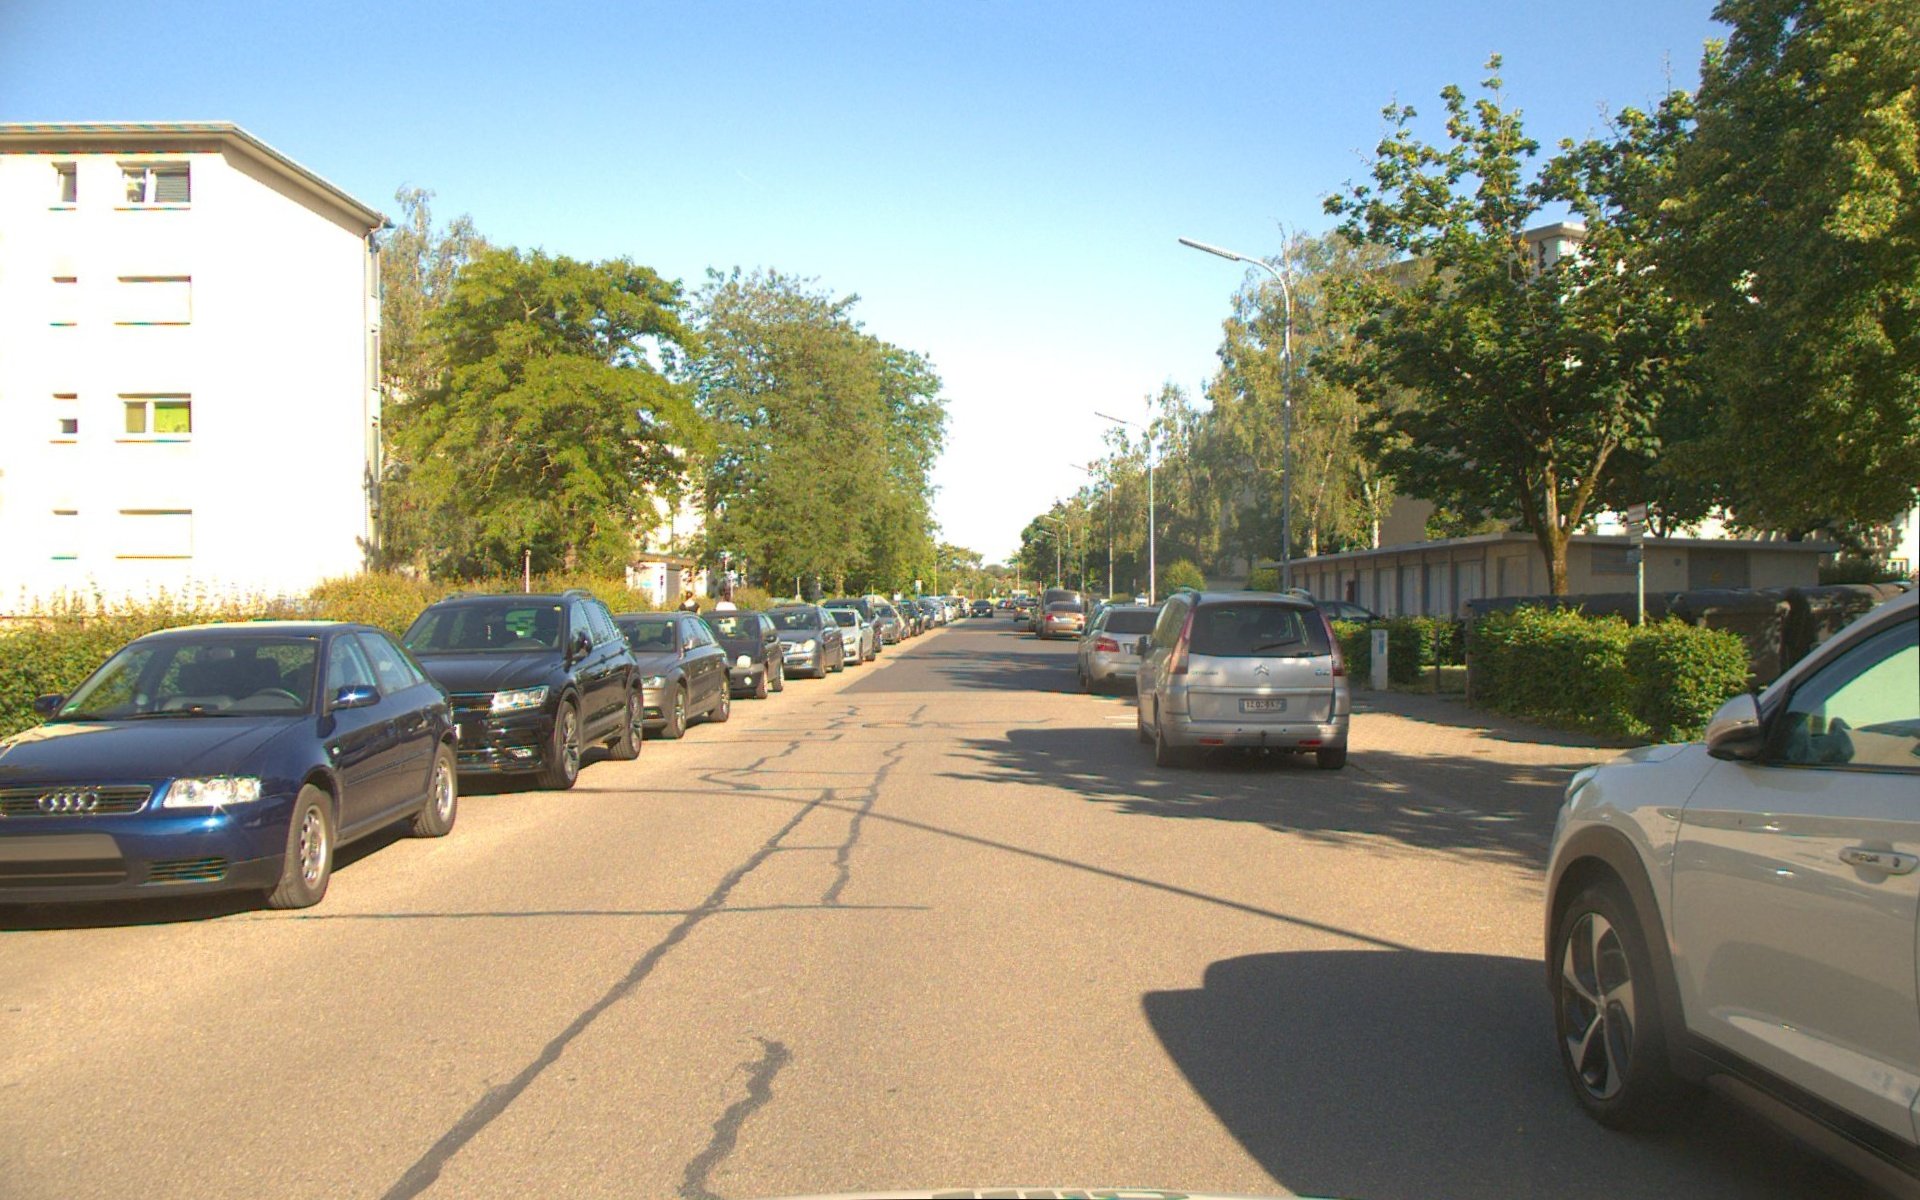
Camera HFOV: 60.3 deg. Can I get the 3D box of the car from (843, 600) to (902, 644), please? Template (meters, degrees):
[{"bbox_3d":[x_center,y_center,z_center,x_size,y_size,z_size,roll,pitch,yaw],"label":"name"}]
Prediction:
[{"bbox_3d":[-3.060,0.751,58.555,1.718,1.445,4.270,-2,0,1],"label":"car"}]

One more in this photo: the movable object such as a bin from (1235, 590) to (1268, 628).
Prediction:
[{"bbox_3d":[11.977,0.365,68.042,1.249,1.491,1.134,0,3,5],"label":"movable object such as a bin"}]

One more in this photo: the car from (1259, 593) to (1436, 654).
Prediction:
[{"bbox_3d":[9.893,0.591,42.442,4.098,1.521,1.817,0,0,-2],"label":"car"}]

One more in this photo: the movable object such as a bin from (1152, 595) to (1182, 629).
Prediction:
[{"bbox_3d":[8.476,0.485,67.745,1.198,1.389,1.134,0,0,5],"label":"movable object such as a bin"}]

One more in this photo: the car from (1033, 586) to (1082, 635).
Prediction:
[{"bbox_3d":[4.132,0.416,70.580,1.814,1.968,4.705,1,0,1],"label":"car"}]

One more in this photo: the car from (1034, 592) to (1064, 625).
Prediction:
[{"bbox_3d":[4.847,0.469,90.297,1.458,1.748,2.583,1,0,1],"label":"car"}]

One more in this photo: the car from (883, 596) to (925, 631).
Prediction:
[{"bbox_3d":[-2.579,0.618,77.295,1.718,1.506,4.537,-2,0,0],"label":"car"}]

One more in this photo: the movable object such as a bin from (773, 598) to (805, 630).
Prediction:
[{"bbox_3d":[-7.140,0.585,69.109,1.153,1.310,1.343,0,0,2],"label":"movable object such as a bin"}]

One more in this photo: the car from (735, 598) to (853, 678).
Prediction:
[{"bbox_3d":[-3.470,0.774,35.408,1.718,1.516,4.902,-3,-1,3],"label":"car"}]

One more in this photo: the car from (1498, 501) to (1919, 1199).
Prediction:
[{"bbox_3d":[2.776,0.656,3.466,1.719,1.703,4.411,0,0,-2],"label":"car"}]

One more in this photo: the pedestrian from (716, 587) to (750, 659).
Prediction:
[{"bbox_3d":[-5.405,0.547,39.344,0.706,1.708,0.616,0,0,1],"label":"pedestrian"}]

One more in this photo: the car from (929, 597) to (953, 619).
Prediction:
[{"bbox_3d":[-1.388,0.565,121.929,1.652,1.532,3.817,-1,0,0],"label":"car"}]

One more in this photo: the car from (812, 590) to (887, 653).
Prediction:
[{"bbox_3d":[-3.161,0.599,48.043,1.718,1.664,4.371,-2,0,1],"label":"car"}]

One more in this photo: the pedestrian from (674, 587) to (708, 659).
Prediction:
[{"bbox_3d":[-6.492,0.554,39.894,0.706,1.708,0.600,0,0,1],"label":"pedestrian"}]

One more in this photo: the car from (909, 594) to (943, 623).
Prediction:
[{"bbox_3d":[-2.031,0.472,99.806,1.864,1.668,4.349,-1,0,1],"label":"car"}]

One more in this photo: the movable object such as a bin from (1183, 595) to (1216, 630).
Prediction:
[{"bbox_3d":[9.729,0.501,67.327,1.249,1.389,1.134,0,0,5],"label":"movable object such as a bin"}]

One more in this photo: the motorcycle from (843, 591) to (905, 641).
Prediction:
[{"bbox_3d":[-3.229,0.593,62.133,2.210,1.757,0.932,-3,0,-2],"label":"motorcycle"}]

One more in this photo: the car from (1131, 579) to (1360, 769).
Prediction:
[{"bbox_3d":[2.736,0.637,16.762,1.717,1.655,4.496,0,0,2],"label":"car"}]

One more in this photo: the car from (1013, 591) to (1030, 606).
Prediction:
[{"bbox_3d":[7.123,-0.168,191.114,1.759,1.589,3.951,1,0,-1],"label":"car"}]

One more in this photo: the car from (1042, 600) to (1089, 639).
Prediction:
[{"bbox_3d":[4.086,0.722,64.611,1.763,1.443,4.637,1,0,3],"label":"car"}]

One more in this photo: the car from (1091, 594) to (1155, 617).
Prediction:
[{"bbox_3d":[11.345,0.377,115.550,4.323,1.540,1.829,-1,0,2],"label":"car"}]

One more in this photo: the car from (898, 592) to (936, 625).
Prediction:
[{"bbox_3d":[-2.294,0.450,89.140,1.718,1.634,3.969,-2,0,2],"label":"car"}]

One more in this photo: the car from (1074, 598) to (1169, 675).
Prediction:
[{"bbox_3d":[3.346,0.726,34.811,1.767,1.521,3.796,0,0,2],"label":"car"}]

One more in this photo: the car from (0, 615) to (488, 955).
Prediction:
[{"bbox_3d":[-4.011,0.835,9.349,1.605,1.409,4.169,-2,0,-2],"label":"car"}]

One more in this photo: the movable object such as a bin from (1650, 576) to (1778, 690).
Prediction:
[{"bbox_3d":[10.496,0.449,23.071,1.298,1.564,1.028,0,0,-5],"label":"movable object such as a bin"}]

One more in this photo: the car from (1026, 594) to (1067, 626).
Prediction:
[{"bbox_3d":[4.328,0.493,83.014,1.696,1.516,4.500,-1,0,-1],"label":"car"}]

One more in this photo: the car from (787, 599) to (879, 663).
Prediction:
[{"bbox_3d":[-3.134,0.756,41.636,1.717,1.450,4.212,-2,-1,3],"label":"car"}]

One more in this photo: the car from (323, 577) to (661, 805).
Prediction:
[{"bbox_3d":[-3.988,0.689,14.889,1.718,1.697,4.390,-2,0,0],"label":"car"}]

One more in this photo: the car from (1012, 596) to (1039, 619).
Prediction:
[{"bbox_3d":[4.611,0.538,117.139,1.645,1.540,4.103,2,0,-1],"label":"car"}]

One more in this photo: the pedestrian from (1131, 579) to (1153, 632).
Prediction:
[{"bbox_3d":[6.716,0.212,61.085,0.688,1.921,0.873,-2,0,2],"label":"pedestrian"}]

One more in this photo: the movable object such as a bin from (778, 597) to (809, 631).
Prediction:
[{"bbox_3d":[-7.104,0.590,70.527,1.153,1.432,1.343,0,0,2],"label":"movable object such as a bin"}]

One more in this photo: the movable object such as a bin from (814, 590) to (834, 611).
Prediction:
[{"bbox_3d":[-9.527,0.028,115.966,1.153,1.445,1.463,2,0,3],"label":"movable object such as a bin"}]

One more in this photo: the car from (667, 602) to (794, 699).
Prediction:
[{"bbox_3d":[-3.850,0.810,28.229,1.614,1.489,3.496,-2,0,0],"label":"car"}]

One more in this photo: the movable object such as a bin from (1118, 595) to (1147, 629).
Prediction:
[{"bbox_3d":[7.170,0.504,68.763,1.004,1.333,1.388,-3,0,11],"label":"movable object such as a bin"}]

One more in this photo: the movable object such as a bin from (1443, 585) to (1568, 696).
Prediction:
[{"bbox_3d":[7.606,0.552,23.110,1.298,1.453,1.069,-3,0,-5],"label":"movable object such as a bin"}]

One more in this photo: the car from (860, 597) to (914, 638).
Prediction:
[{"bbox_3d":[-2.881,0.657,65.783,1.717,1.506,3.961,-2,0,3],"label":"car"}]

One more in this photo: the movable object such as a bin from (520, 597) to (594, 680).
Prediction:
[{"bbox_3d":[-7.357,0.691,30.242,0.981,1.440,1.326,3,0,-1],"label":"movable object such as a bin"}]

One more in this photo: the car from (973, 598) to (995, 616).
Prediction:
[{"bbox_3d":[2.058,0.567,142.930,1.871,1.502,4.571,-1,0,1],"label":"car"}]

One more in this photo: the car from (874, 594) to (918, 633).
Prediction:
[{"bbox_3d":[-2.747,0.576,71.892,1.718,1.601,3.720,-2,0,0],"label":"car"}]

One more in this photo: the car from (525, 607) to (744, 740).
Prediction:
[{"bbox_3d":[-3.880,0.823,20.488,1.718,1.409,4.674,-2,-1,0],"label":"car"}]

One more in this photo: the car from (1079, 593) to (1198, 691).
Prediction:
[{"bbox_3d":[3.066,0.674,29.211,1.793,1.573,4.642,0,0,2],"label":"car"}]
